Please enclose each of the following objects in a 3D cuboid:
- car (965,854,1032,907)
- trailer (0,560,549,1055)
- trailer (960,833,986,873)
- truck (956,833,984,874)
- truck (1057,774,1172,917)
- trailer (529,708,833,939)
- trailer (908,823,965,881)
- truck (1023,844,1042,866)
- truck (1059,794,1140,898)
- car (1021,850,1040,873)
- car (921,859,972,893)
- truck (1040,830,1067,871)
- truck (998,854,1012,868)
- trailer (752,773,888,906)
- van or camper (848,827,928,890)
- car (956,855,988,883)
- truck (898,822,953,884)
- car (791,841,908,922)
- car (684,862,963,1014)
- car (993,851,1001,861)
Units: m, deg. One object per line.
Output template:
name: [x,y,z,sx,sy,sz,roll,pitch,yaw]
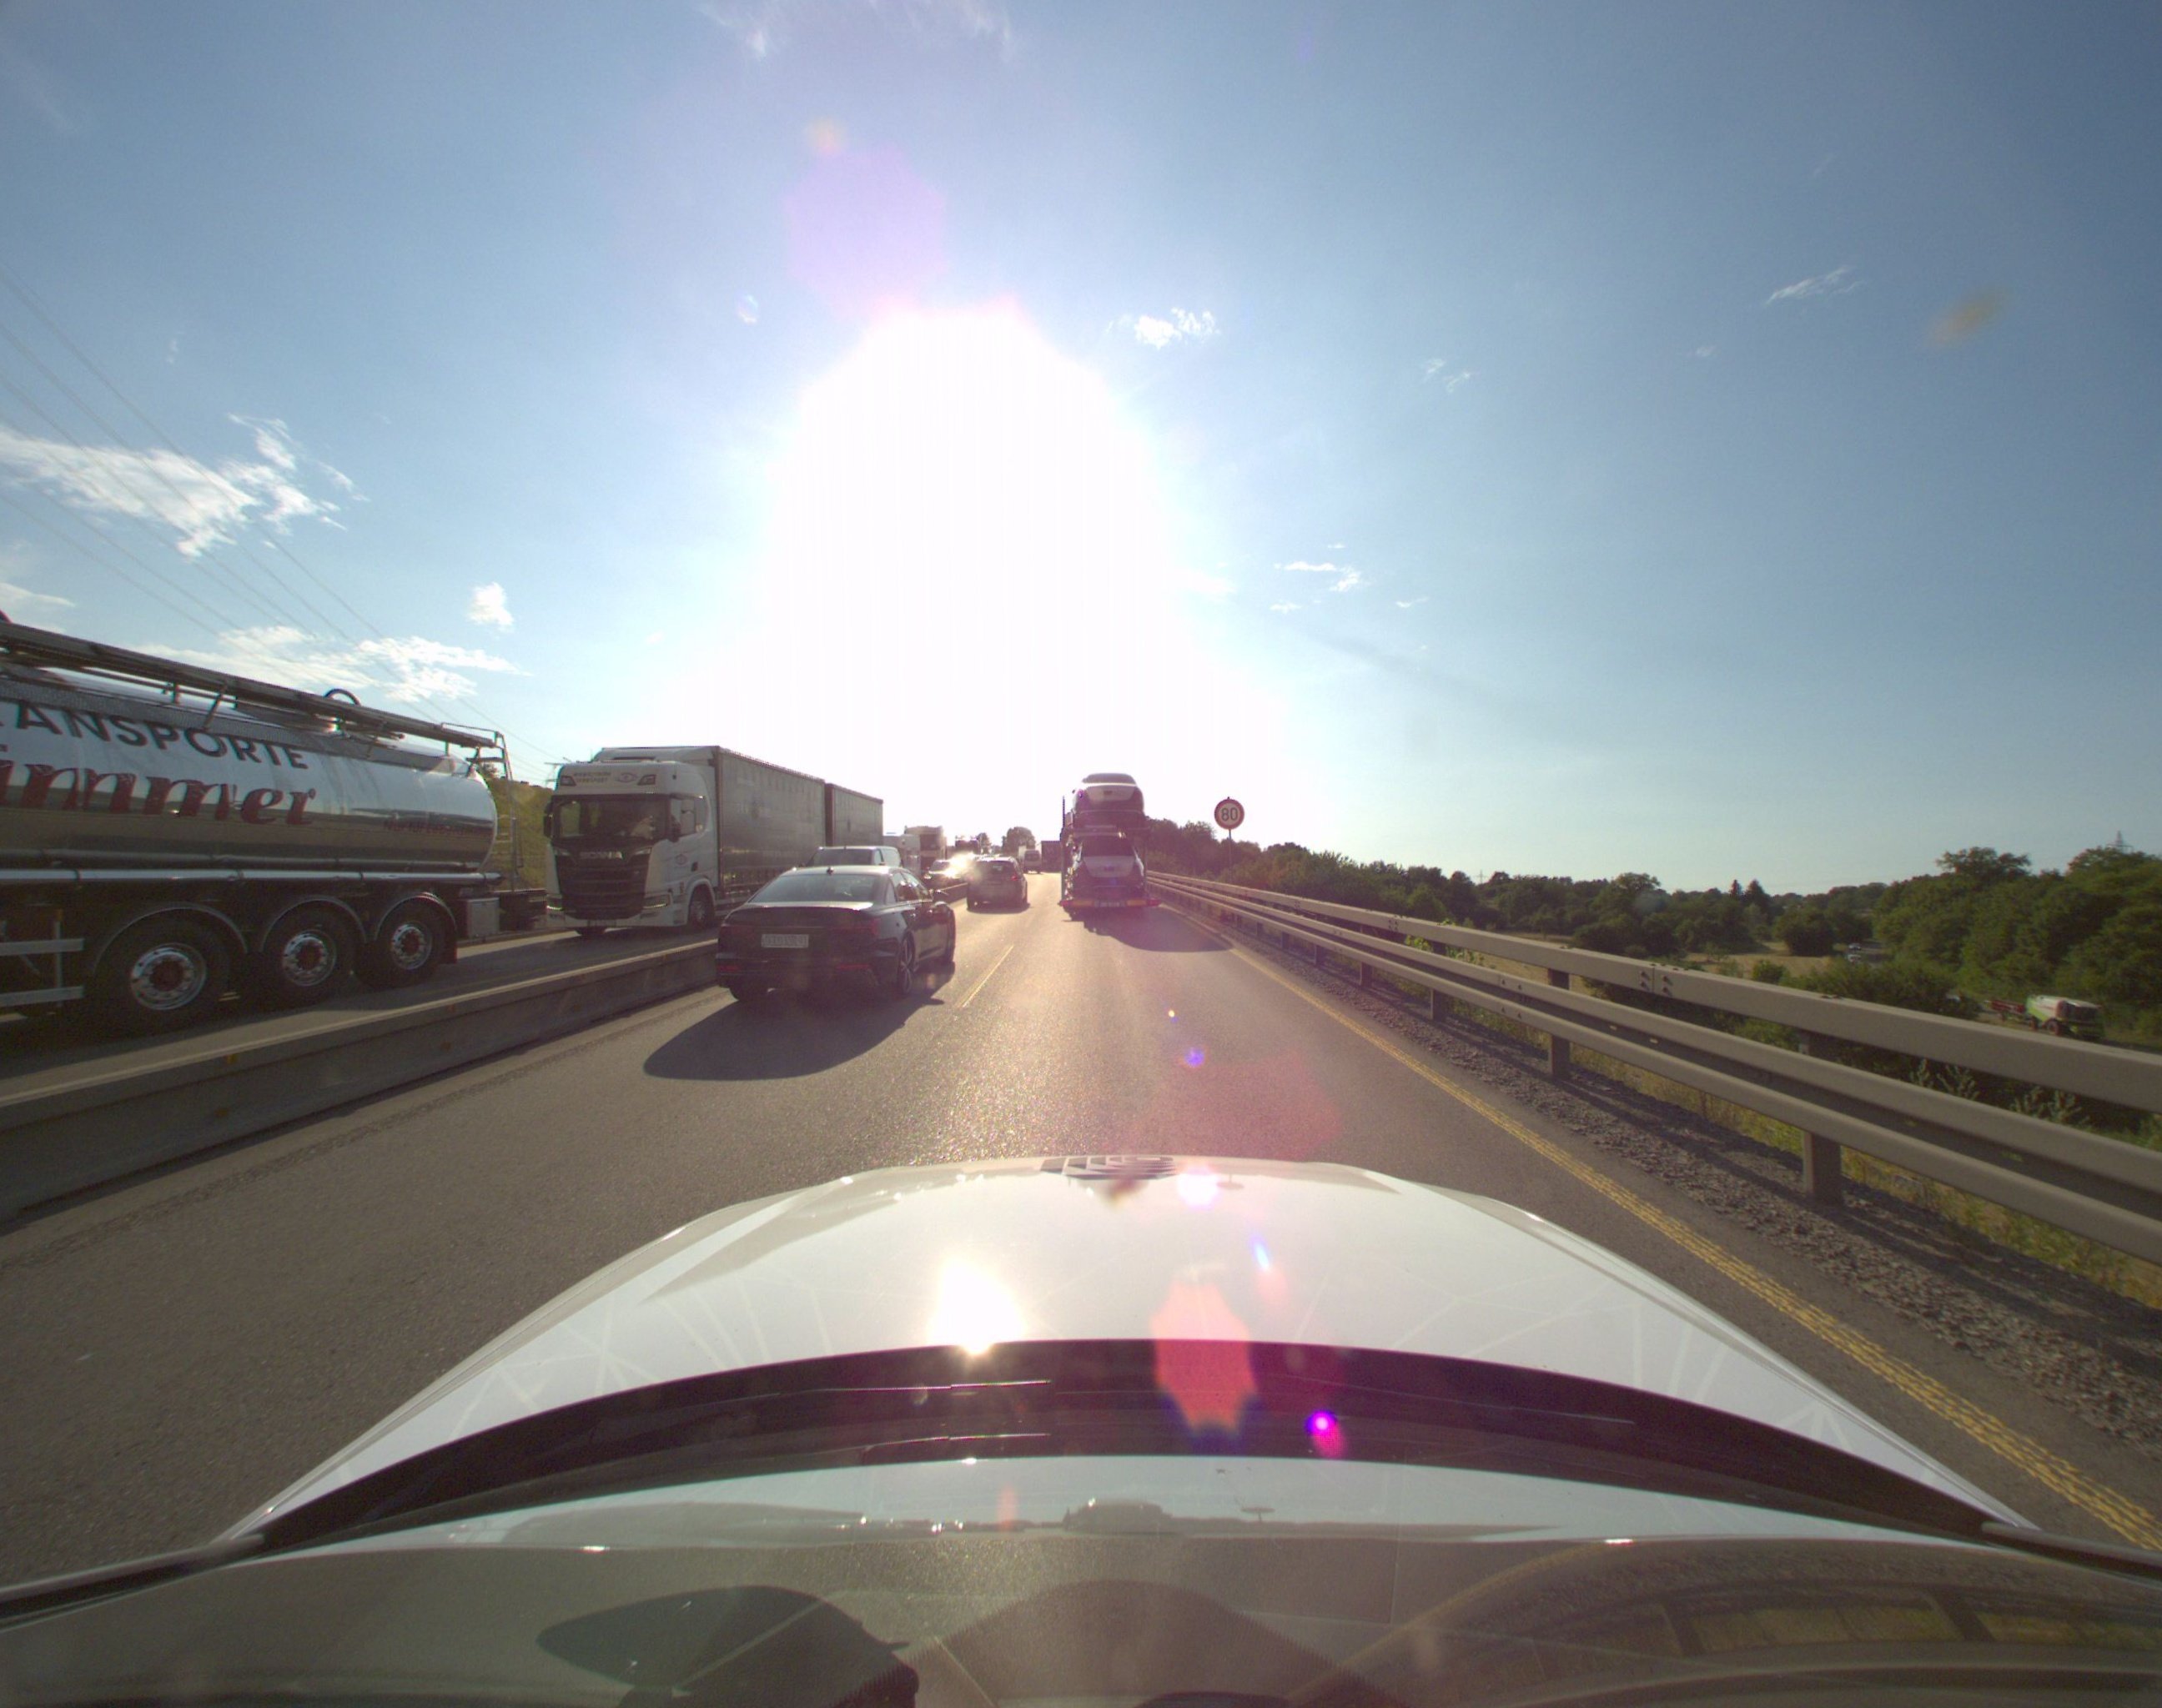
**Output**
car: [-2.664,0.840,27.040,1.685,1.596,4.001,-1,-1,1]
trailer: [-9.411,-0.344,6.598,2.299,3.790,12.049,-1,-1,0]
trailer: [-12.051,0.034,91.713,2.303,4.130,14.572,-1,-1,-5]
truck: [-11.442,-0.042,84.434,2.499,4.066,5.655,-1,-1,-5]
truck: [0.757,-0.155,25.340,2.791,3.497,10.600,-1,-1,-1]
trailer: [-9.127,-0.518,20.572,2.468,4.329,10.508,-1,-1,0]
trailer: [-10.324,-0.053,59.705,2.514,3.725,13.958,-1,-1,-4]
truck: [-8.133,0.230,137.673,2.523,3.648,8.903,-1,-1,0]
truck: [0.550,-0.241,34.814,2.831,3.792,9.977,-1,-1,-2]
car: [-5.657,0.843,92.197,1.915,2.493,5.405,-1,-1,-1]
car: [-6.328,1.009,38.749,1.675,1.479,4.601,-1,-1,-1]
truck: [-3.762,-0.362,107.951,3.279,5.237,9.922,-1,-1,-3]
truck: [-17.448,1.569,187.430,2.583,3.170,6.673,-1,-1,-1]
trailer: [-9.280,-0.404,30.055,2.436,4.189,8.538,-1,-1,-1]
van or camper: [-9.650,0.244,41.499,2.402,2.891,7.612,-1,-1,-2]
car: [-7.002,0.958,52.750,1.753,1.695,4.447,-1,-1,-4]
truck: [-10.017,-0.029,53.119,2.595,3.754,6.510,-1,-1,-3]
car: [-6.040,0.688,21.858,1.812,1.925,4.833,-1,-1,-1]
car: [-2.818,0.824,10.254,1.928,1.399,4.960,0,0,0]
car: [-17.524,0.482,169.158,1.628,2.014,3.990,-1,-1,-7]
